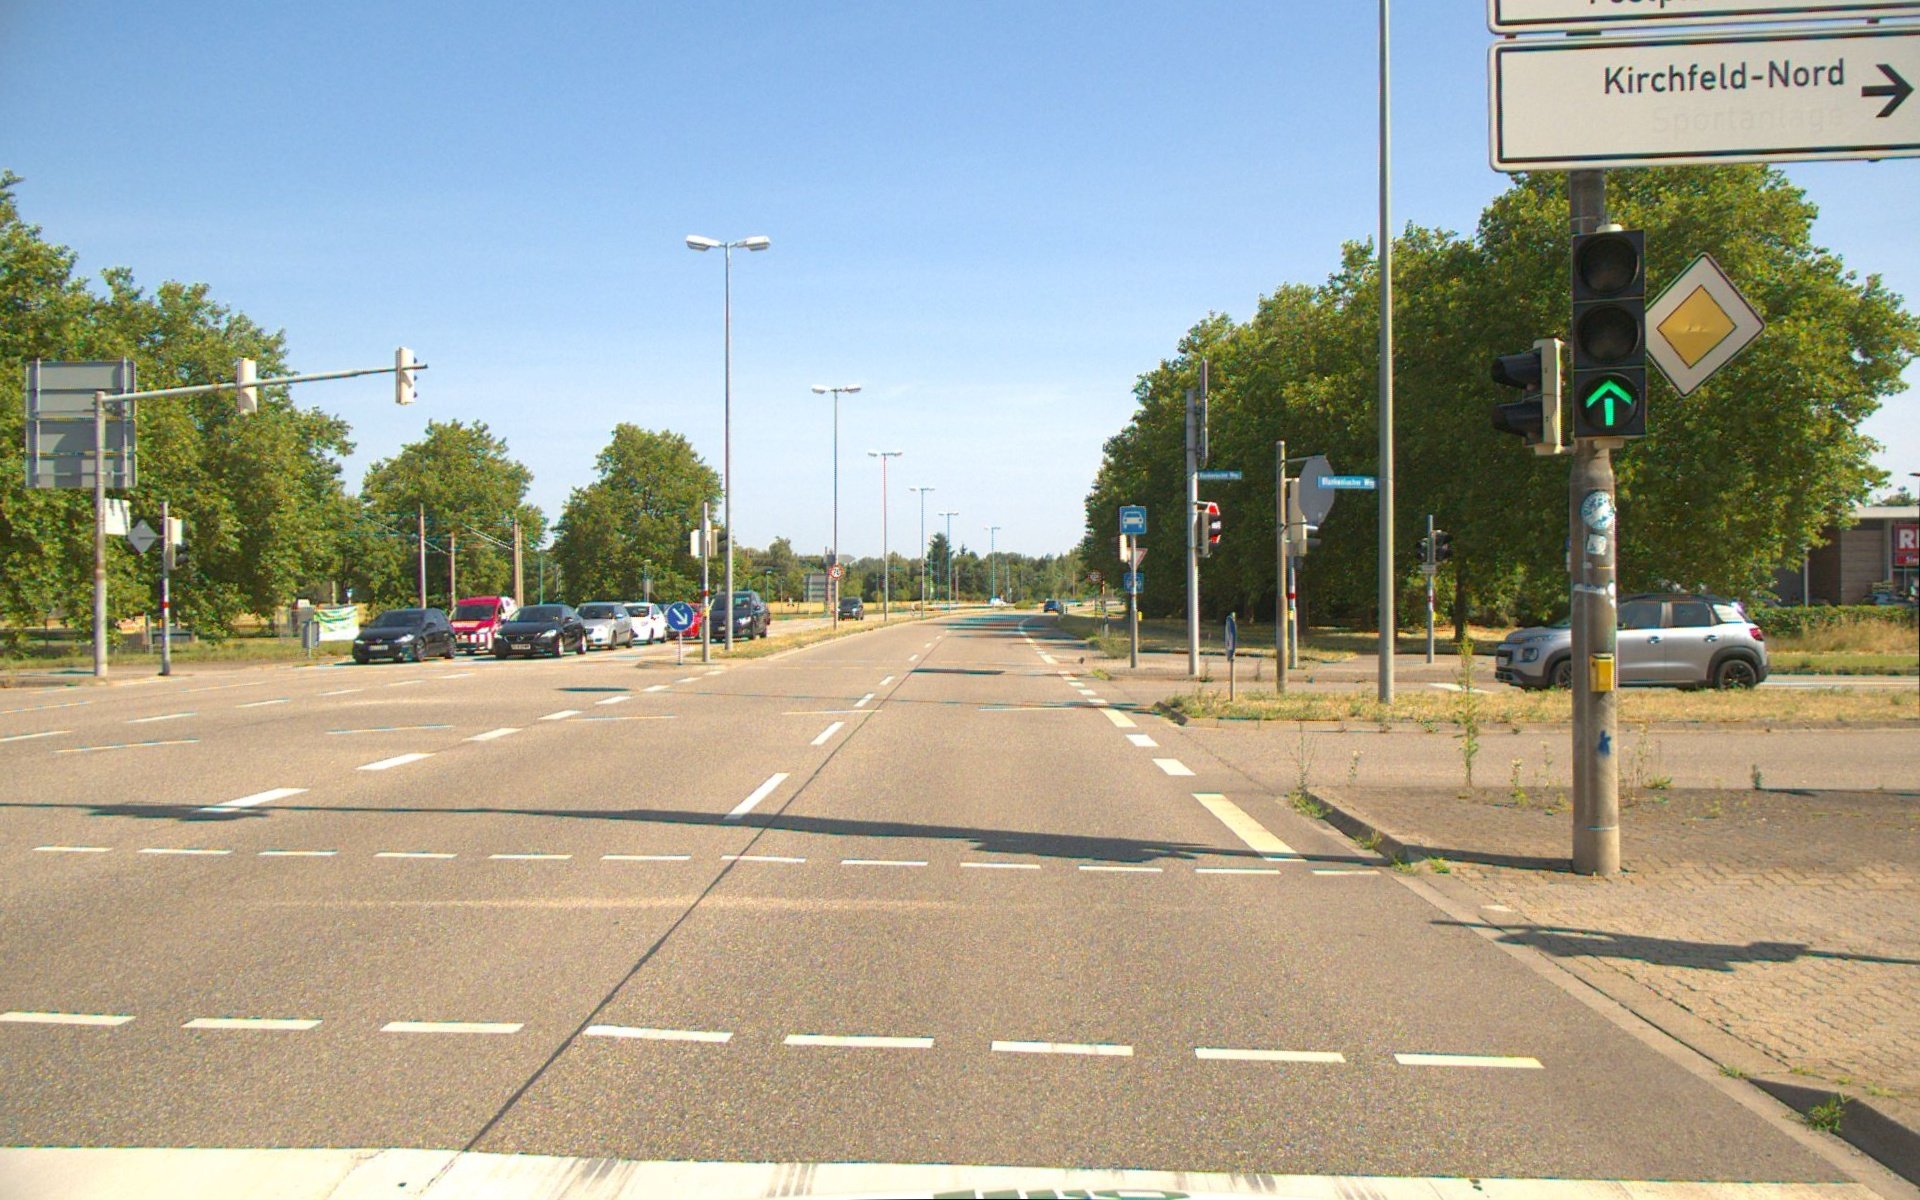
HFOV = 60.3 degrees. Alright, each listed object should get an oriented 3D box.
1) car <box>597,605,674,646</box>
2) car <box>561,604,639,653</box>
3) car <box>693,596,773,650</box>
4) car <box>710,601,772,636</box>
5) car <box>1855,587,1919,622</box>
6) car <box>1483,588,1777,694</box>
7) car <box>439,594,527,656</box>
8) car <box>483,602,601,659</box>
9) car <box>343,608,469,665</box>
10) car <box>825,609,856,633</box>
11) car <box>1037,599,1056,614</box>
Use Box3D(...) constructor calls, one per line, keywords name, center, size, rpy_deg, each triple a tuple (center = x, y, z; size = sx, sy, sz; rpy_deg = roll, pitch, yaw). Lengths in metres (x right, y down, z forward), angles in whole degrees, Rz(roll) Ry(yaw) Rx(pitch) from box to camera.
Box3D(name="car", center=(-11.531, 0.885, 59.009), size=(1.790, 1.410, 3.845), rpy_deg=(-1, 0, 3))
Box3D(name="car", center=(-11.355, 0.883, 52.388), size=(1.586, 1.483, 3.871), rpy_deg=(-1, 0, 0))
Box3D(name="car", center=(-7.848, 0.763, 57.587), size=(1.940, 1.781, 4.509), rpy_deg=(-1, 0, 3))
Box3D(name="car", center=(-9.643, 0.795, 73.144), size=(1.940, 1.483, 4.452), rpy_deg=(-1, 0, 3))
Box3D(name="car", center=(49.373, 0.230, 86.135), size=(4.398, 1.781, 1.989), rpy_deg=(-1, 0, 6))
Box3D(name="car", center=(10.590, 0.630, 26.329), size=(3.968, 1.591, 1.743), rpy_deg=(-1, 0, 0))
Box3D(name="car", center=(-14.842, 0.761, 51.687), size=(1.670, 1.800, 4.227), rpy_deg=(-2, 0, -3))
Box3D(name="car", center=(-11.427, 0.807, 45.492), size=(1.940, 1.483, 4.334), rpy_deg=(-1, 0, 3))
Box3D(name="car", center=(-15.195, 0.973, 45.617), size=(1.846, 1.483, 4.231), rpy_deg=(-1, 0, 3))
Box3D(name="car", center=(-9.423, 1.624, 130.313), size=(1.940, 1.810, 4.491), rpy_deg=(-1, 0, 2))
Box3D(name="car", center=(10.064, 0.752, 193.101), size=(1.953, 1.713, 3.999), rpy_deg=(-1, 0, -1))
